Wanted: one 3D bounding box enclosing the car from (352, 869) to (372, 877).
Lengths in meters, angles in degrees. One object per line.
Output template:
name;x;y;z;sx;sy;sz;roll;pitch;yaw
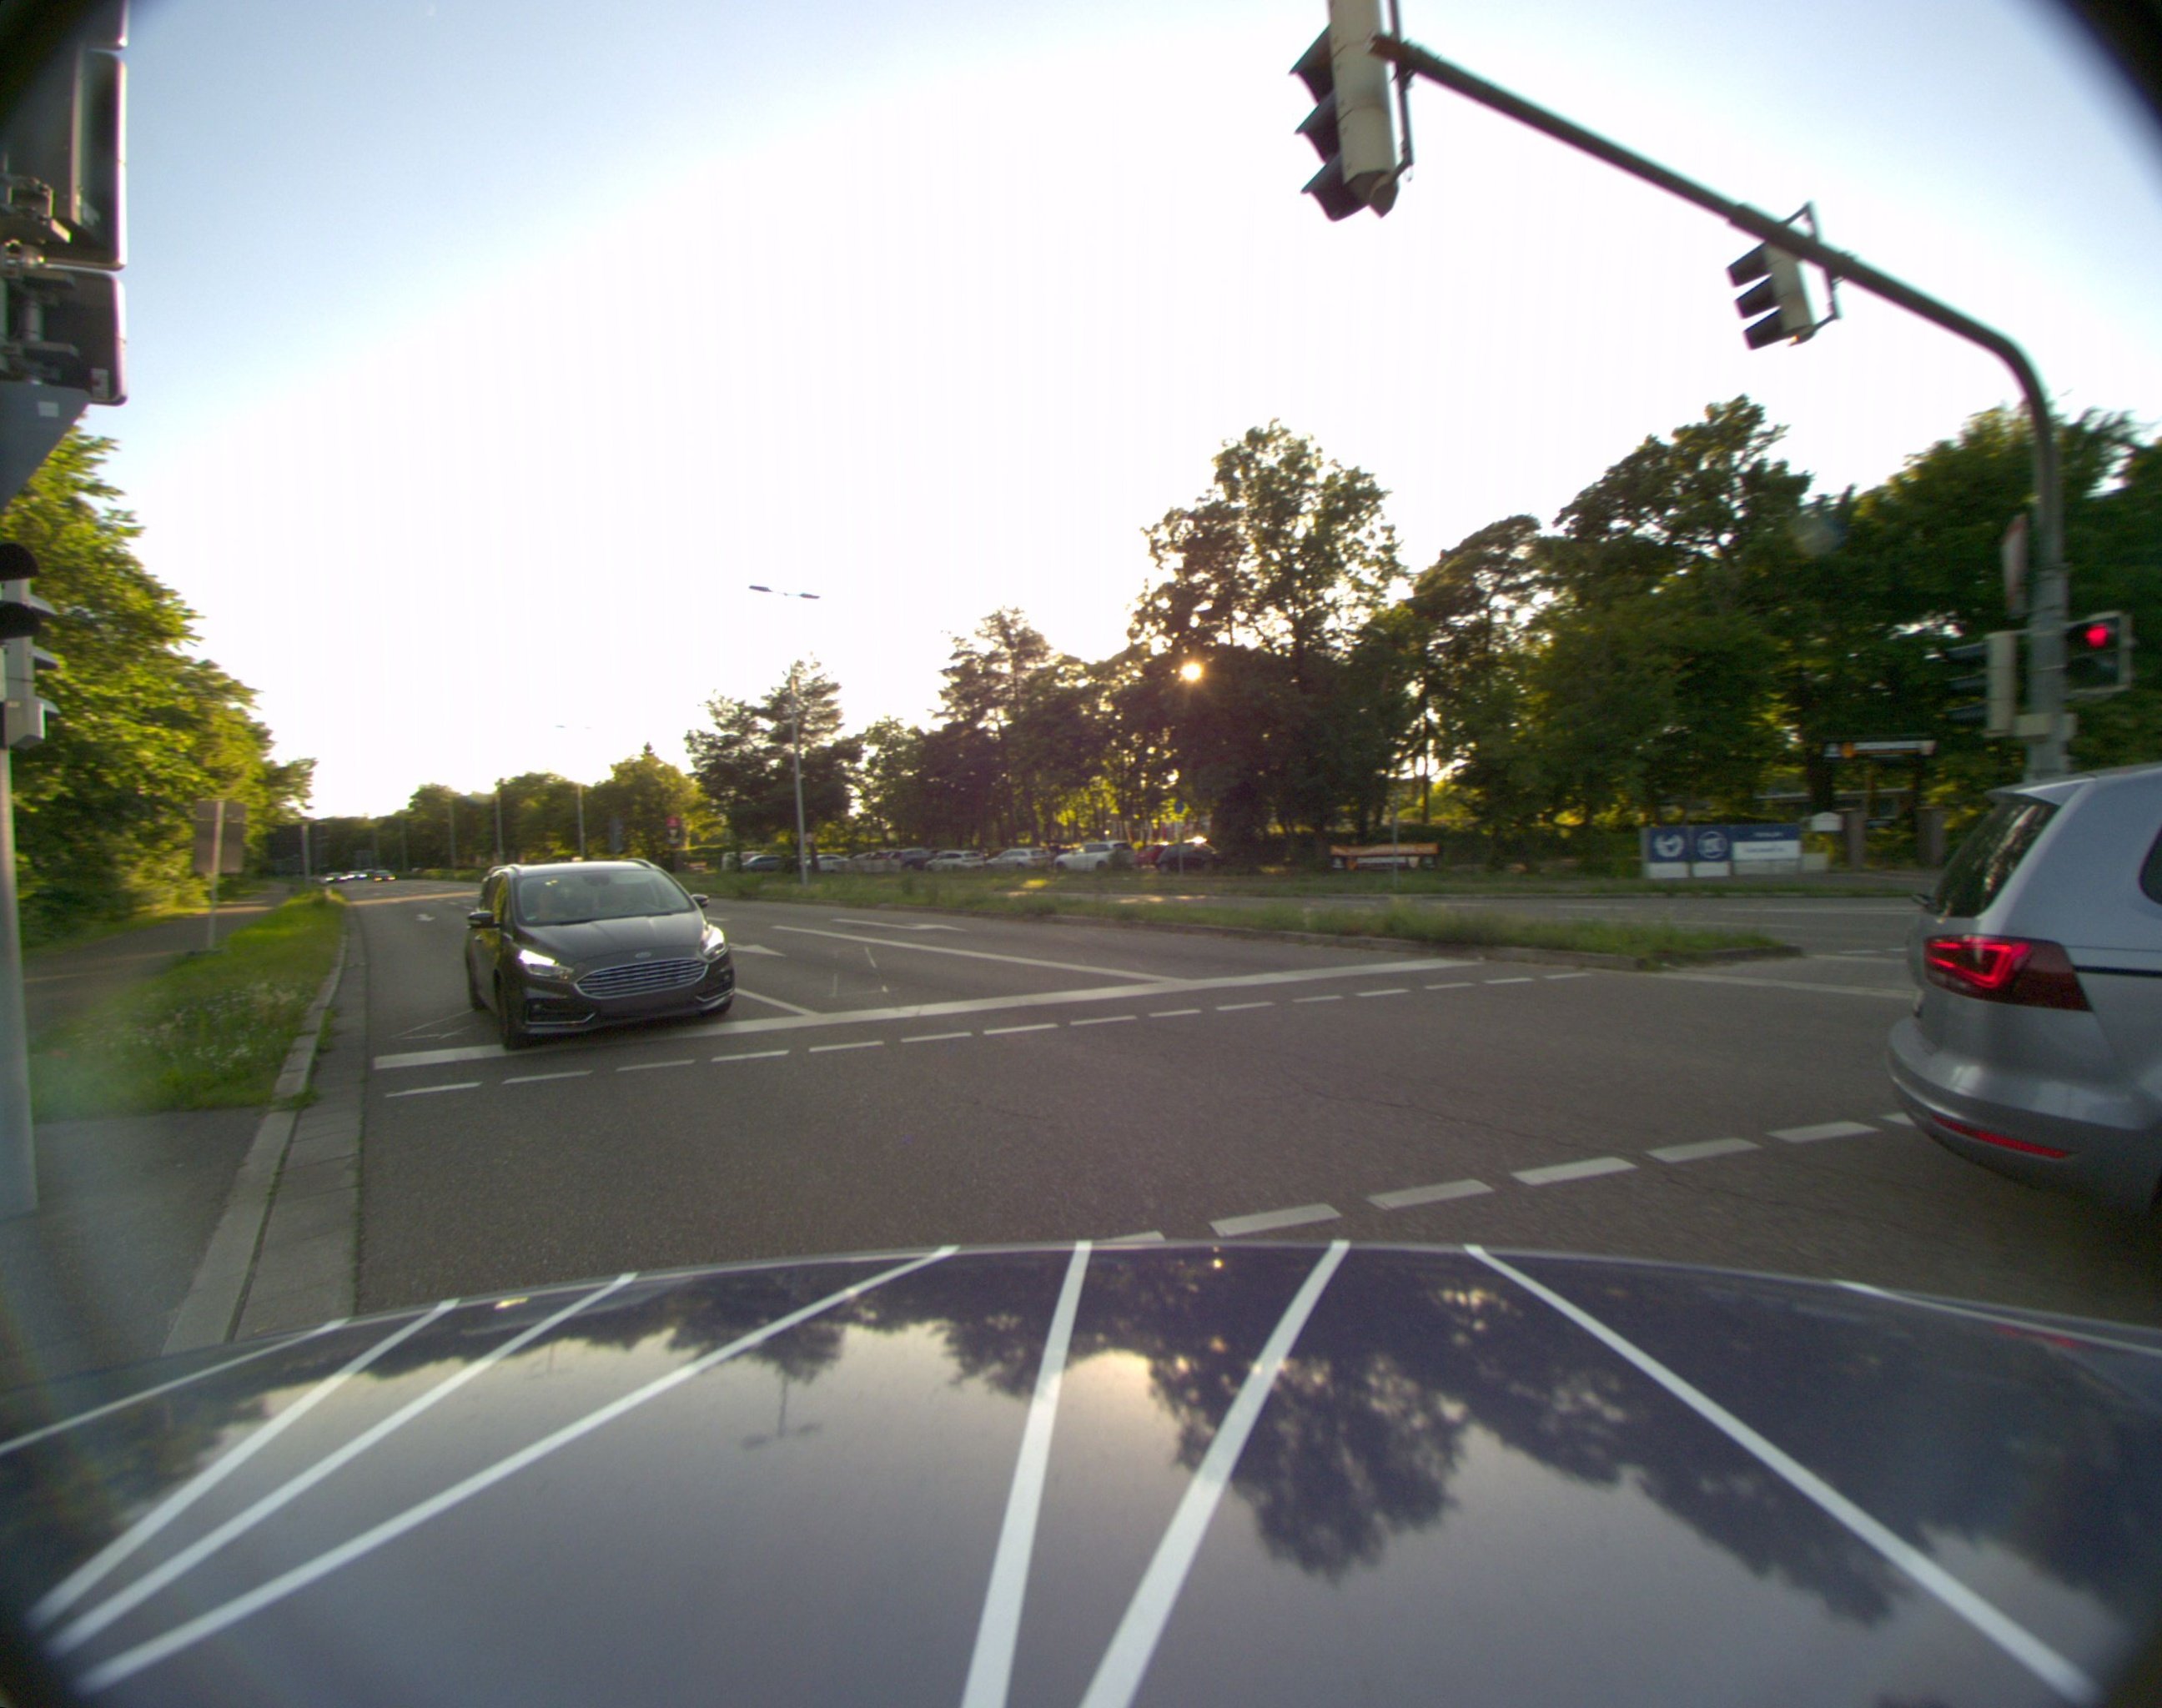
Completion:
car;-118.434;3.131;125.152;3.734;1.281;1.749;-1;2;38

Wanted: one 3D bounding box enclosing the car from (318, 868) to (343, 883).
car;-93.623;2.682;94.830;2.003;1.615;4.384;-5;3;-43

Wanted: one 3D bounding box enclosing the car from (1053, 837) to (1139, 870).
car;0.787;-0.023;41.276;4.535;1.649;1.869;-1;1;43

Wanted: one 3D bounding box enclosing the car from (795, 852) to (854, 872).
car;-21.063;0.609;62.390;1.778;1.470;4.179;-1;2;45

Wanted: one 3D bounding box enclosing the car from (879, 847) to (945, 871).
car;-11.583;0.340;52.150;4.057;1.470;1.757;-3;1;-41

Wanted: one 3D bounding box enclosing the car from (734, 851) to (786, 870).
car;-29.682;0.599;70.302;4.007;1.628;1.820;-3;2;-42

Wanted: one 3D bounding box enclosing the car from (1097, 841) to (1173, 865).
car;3.345;-0.059;47.452;4.535;1.399;1.869;-1;1;43

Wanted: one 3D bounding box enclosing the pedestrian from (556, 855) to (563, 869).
pedestrian;-67.315;1.048;98.120;0.569;1.736;0.675;-5;3;-42

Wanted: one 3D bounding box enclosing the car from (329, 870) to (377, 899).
car;-45.950;1.891;48.024;2.003;1.615;4.384;-5;3;-43

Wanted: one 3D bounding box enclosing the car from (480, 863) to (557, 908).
car;-23.333;1.249;31.469;2.003;1.615;4.384;-5;3;-43

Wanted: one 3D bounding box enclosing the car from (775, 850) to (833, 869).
car;-23.348;0.439;64.219;1.778;1.470;4.179;-1;2;45

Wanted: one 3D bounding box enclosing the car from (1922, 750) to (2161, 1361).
car;4.972;0.516;1.353;1.876;1.714;4.647;-2;1;-42

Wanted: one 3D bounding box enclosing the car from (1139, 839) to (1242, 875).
car;5.302;0.145;36.962;4.535;1.649;1.869;0;2;33

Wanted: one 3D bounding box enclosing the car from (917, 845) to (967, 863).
car;-11.873;0.014;64.713;4.535;1.399;1.869;-1;1;43

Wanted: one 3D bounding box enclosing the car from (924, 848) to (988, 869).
car;-8.287;0.303;50.122;4.486;1.317;1.683;-1;1;43

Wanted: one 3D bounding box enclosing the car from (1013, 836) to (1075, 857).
car;-2.732;-0.507;55.728;4.535;1.399;1.869;-1;1;43

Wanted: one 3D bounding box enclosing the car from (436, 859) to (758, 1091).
car;-5.406;0.972;8.128;2.016;1.651;4.808;-4;1;-42

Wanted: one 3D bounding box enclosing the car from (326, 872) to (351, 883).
car;-102.918;3.243;105.318;4.064;1.397;1.875;-1;3;39

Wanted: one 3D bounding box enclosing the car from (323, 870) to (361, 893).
car;-59.505;2.155;61.226;2.003;1.615;4.384;-5;3;-43

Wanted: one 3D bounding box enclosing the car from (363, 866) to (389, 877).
car;-94.918;2.370;102.265;4.064;1.397;1.875;-1;3;39

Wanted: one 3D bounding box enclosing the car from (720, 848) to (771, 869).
car;-31.977;0.404;72.381;4.007;1.854;1.820;-3;2;-42

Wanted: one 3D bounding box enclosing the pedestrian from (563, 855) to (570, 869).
pedestrian;-66.818;0.992;98.601;0.569;1.765;0.675;-5;3;-42

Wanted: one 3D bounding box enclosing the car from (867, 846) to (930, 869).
car;-13.256;0.241;55.359;1.994;1.445;4.007;-1;2;45

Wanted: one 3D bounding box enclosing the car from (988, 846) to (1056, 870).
car;-3.577;0.223;45.601;3.988;1.324;1.869;-1;1;43

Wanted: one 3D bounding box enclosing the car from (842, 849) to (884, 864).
car;-21.171;0.241;73.728;4.535;1.399;1.869;-1;1;43
